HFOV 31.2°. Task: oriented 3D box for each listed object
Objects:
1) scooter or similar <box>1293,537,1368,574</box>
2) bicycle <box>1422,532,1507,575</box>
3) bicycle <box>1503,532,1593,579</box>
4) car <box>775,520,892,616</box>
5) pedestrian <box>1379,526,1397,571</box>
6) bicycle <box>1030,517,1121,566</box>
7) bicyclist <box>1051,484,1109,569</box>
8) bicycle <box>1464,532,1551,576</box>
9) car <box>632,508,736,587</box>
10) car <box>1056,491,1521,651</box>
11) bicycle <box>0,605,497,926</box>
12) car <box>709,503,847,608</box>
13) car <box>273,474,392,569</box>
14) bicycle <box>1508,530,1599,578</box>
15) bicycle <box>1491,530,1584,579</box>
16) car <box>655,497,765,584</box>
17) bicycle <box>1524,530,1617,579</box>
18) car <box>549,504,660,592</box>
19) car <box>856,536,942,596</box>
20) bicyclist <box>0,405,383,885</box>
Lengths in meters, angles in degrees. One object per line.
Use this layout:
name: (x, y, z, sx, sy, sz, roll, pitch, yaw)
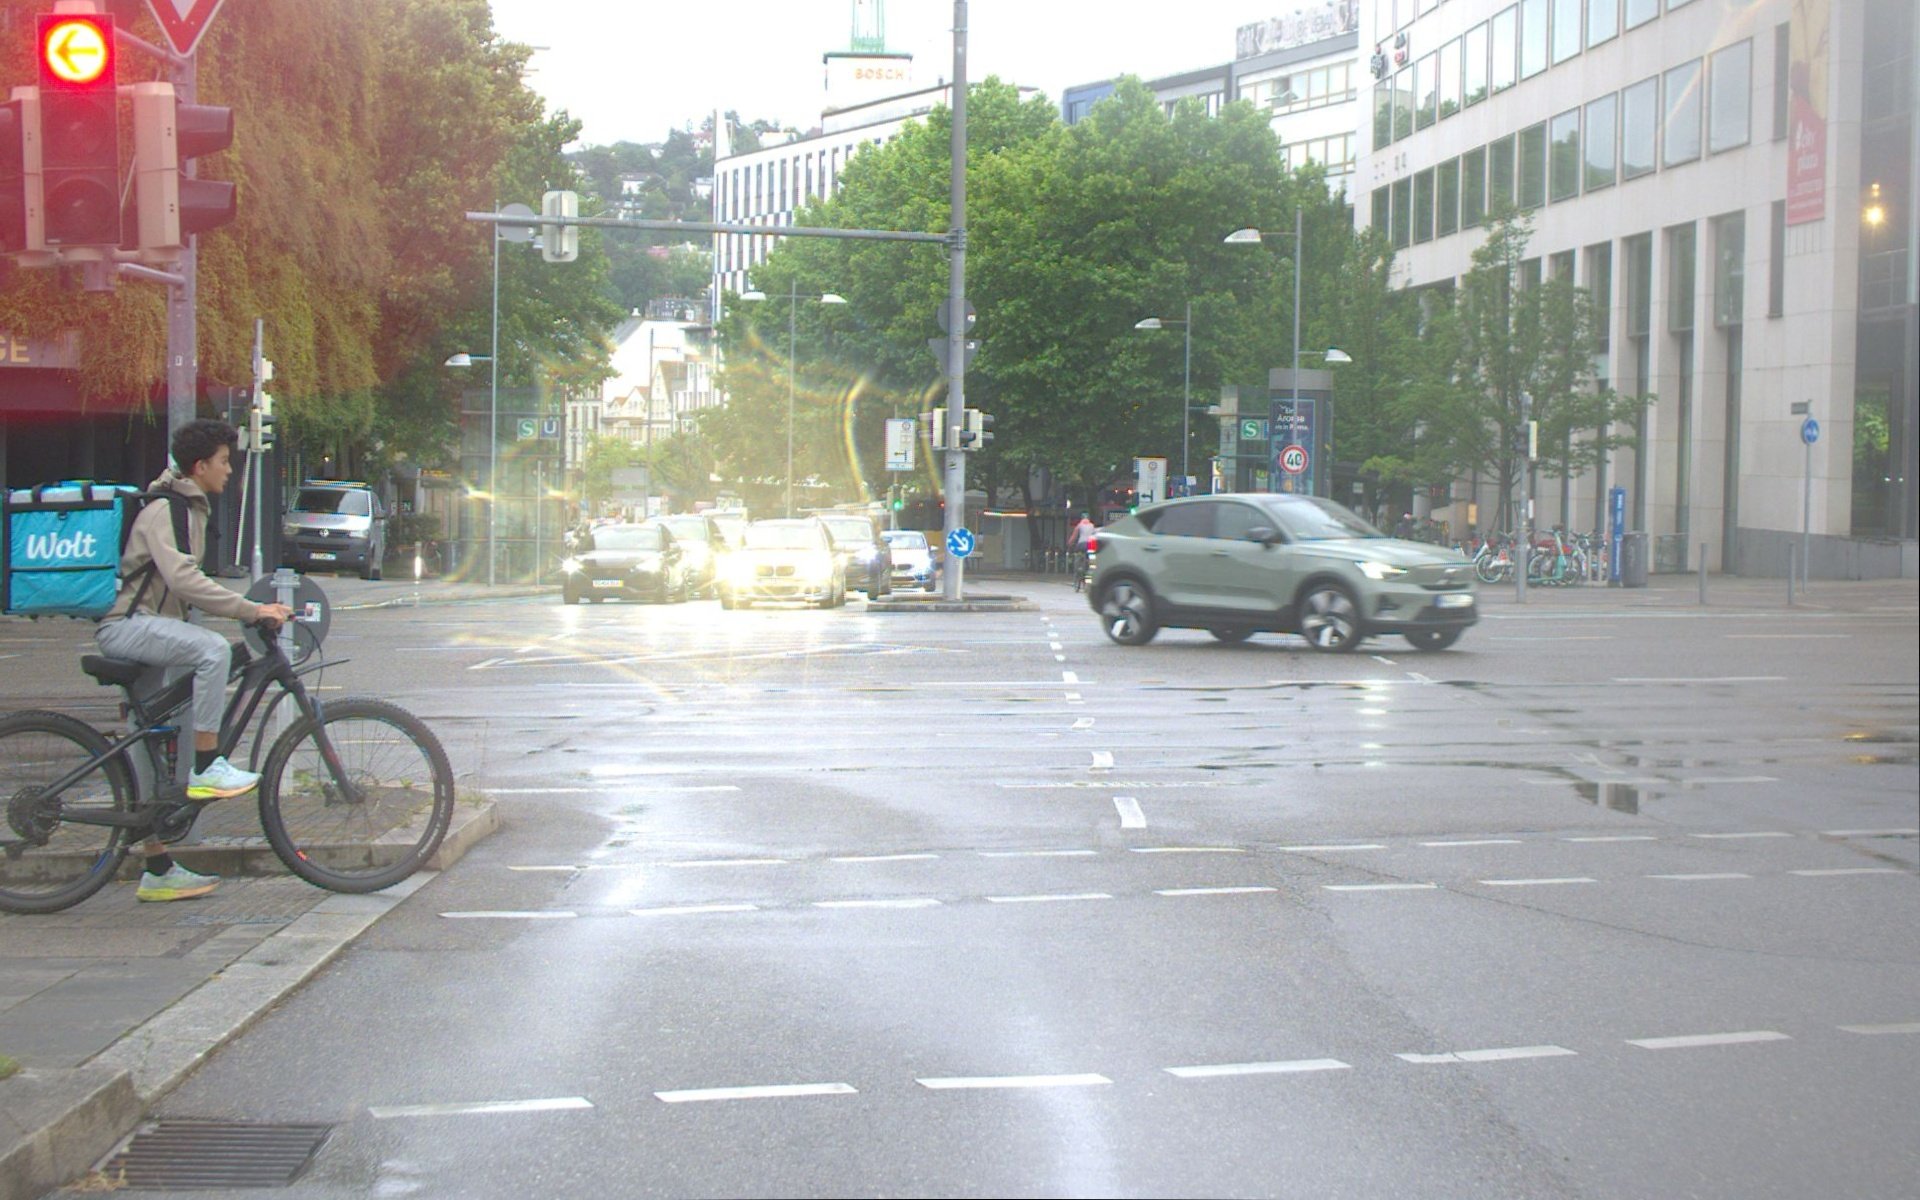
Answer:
scooter or similar: (8.885, -1.074, 82.514, 1.745, 0.875, 0.489, -1, 1, -19)
bicycle: (11.074, -1.033, 75.458, 1.794, 0.931, 0.475, 0, 1, 3)
bicycle: (11.852, -0.900, 69.282, 1.799, 0.931, 0.474, 1, 2, 41)
car: (-2.464, -0.646, 66.103, 1.963, 1.649, 4.365, -1, 3, -6)
pedestrian: (11.234, -1.352, 90.242, 0.353, 1.169, 0.415, 0, 1, -9)
bicycle: (2.696, -1.376, 80.452, 0.791, 1.113, 2.255, -1, 2, -41)
bicyclist: (2.802, -1.720, 80.310, 0.791, 1.968, 1.114, -1, 2, -41)
bicycle: (11.725, -0.994, 73.610, 1.794, 0.931, 0.475, 0, 1, 3)
car: (-5.411, -1.046, 67.059, 1.856, 1.443, 4.622, 0, 2, -7)
car: (3.315, -0.344, 35.367, 1.995, 1.545, 4.553, -1, 2, -44)
bicycle: (-2.871, 0.586, 12.779, 2.145, 1.099, 0.848, 0, 1, -21)
car: (-2.785, -0.729, 53.538, 1.993, 1.481, 4.465, 0, 3, -1)
car: (-12.927, -1.634, 71.022, 1.993, 1.888, 4.466, 0, 1, -5)
bicycle: (11.823, -0.923, 68.536, 1.799, 0.931, 0.474, 1, 2, 41)
bicycle: (11.231, -0.890, 66.929, 1.799, 0.931, 0.474, 1, 2, 41)
car: (-5.420, -1.296, 74.039, 2.174, 1.817, 4.645, 0, 1, -6)
bicycle: (11.996, -0.905, 67.570, 1.799, 0.931, 0.474, 1, 2, 41)
car: (-6.229, -0.943, 60.658, 1.856, 1.443, 4.622, 0, 2, -5)
car: (-1.577, -0.887, 87.441, 1.993, 1.438, 4.556, 0, 1, -3)
bicyclist: (-2.865, 0.145, 12.767, 1.294, 1.698, 0.848, 0, 1, -20)
